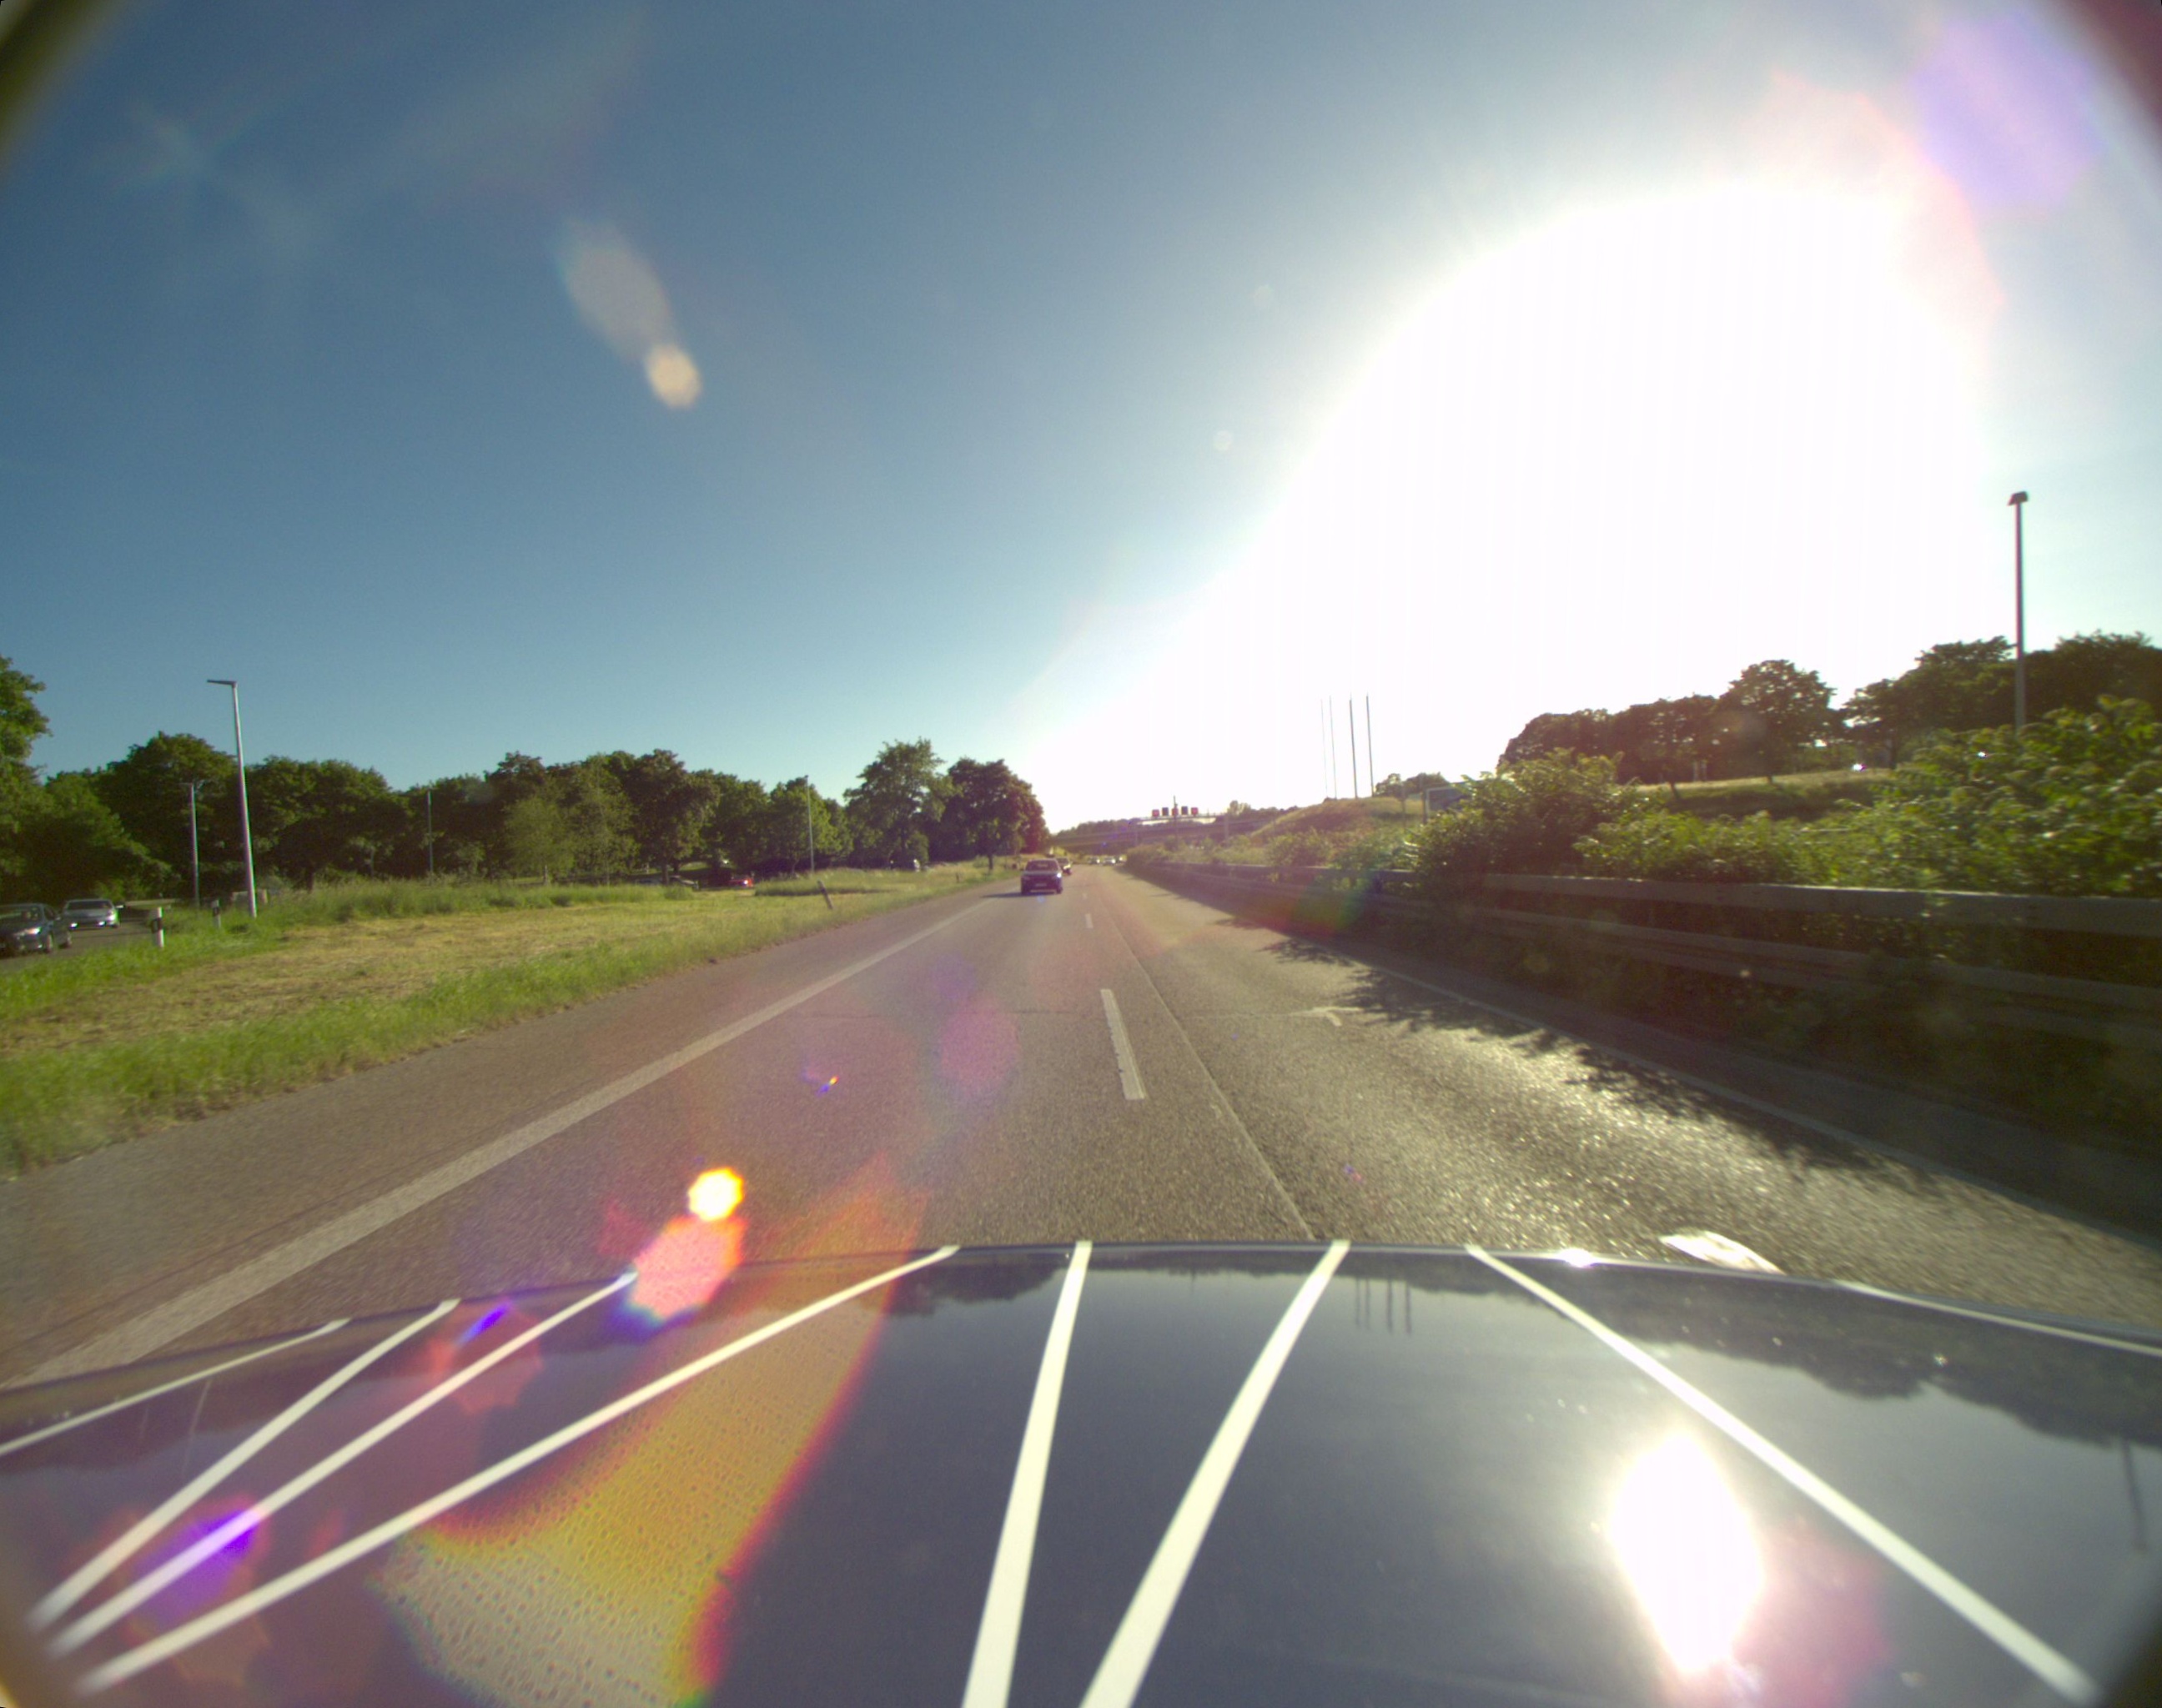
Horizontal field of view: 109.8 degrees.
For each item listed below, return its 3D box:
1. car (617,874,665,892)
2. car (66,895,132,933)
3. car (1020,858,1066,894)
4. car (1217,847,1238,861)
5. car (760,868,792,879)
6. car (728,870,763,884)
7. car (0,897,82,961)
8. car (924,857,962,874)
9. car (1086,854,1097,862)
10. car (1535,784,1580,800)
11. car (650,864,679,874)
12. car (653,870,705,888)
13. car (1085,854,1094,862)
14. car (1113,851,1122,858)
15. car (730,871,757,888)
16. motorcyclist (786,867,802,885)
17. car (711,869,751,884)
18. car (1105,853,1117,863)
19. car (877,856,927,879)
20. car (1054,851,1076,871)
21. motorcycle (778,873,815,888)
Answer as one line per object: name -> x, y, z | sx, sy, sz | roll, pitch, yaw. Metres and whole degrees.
car -> -46.695, 3.038, 80.689 | 4.232, 1.551, 1.784 | -4, 1, -30
car -> -48.110, 2.940, 37.217 | 4.132, 1.564, 1.763 | -3, 3, 37
car -> -1.658, 0.942, 34.459 | 1.703, 1.497, 4.579 | -2, 0, 1
car -> 17.457, -0.017, 90.610 | 1.846, 1.552, 4.000 | -2, 0, 2
car -> -47.107, 2.991, 117.432 | 4.120, 1.416, 1.865 | -3, 3, 0
car -> -47.932, 3.270, 108.598 | 4.223, 1.551, 1.787 | -4, 1, 2
car -> -30.542, 2.143, 21.781 | 4.132, 1.564, 1.763 | -2, 4, 43
car -> -19.486, 1.608, 107.478 | 4.801, 2.012, 2.025 | -3, 3, 0
car -> 1.924, 0.687, 137.816 | 1.682, 1.412, 3.670 | -3, 0, 4
car -> 77.334, -10.098, 123.457 | 2.551, 2.002, 6.088 | -2, 0, -15
car -> -68.030, 2.419, 124.210 | 1.906, 1.567, 4.004 | -3, 0, 14
car -> -48.662, 2.999, 92.003 | 5.203, 1.855, 1.957 | -2, 1, 1
car -> 1.850, 0.951, 166.174 | 1.867, 1.681, 4.000 | -2, 0, 2
car -> 7.429, 0.072, 153.275 | 1.682, 1.412, 3.670 | -3, 0, 3
car -> -33.116, 2.519, 74.655 | 1.704, 1.454, 4.144 | -3, 1, -15
motorcyclist -> -24.429, 1.867, 64.615 | 1.095, 1.439, 0.817 | -3, 1, -32
car -> -48.482, 3.134, 105.388 | 4.597, 1.766, 1.945 | -2, 2, -5
car -> 4.747, 0.624, 120.045 | 1.725, 1.412, 3.669 | -3, 0, 1
car -> -20.438, 1.558, 86.917 | 5.042, 2.124, 2.094 | -5, 1, 10
car -> -1.397, 0.610, 67.833 | 1.759, 1.564, 4.520 | -1, 1, 1
motorcycle -> -24.239, 2.228, 64.723 | 2.840, 1.063, 0.817 | -3, 1, -31
